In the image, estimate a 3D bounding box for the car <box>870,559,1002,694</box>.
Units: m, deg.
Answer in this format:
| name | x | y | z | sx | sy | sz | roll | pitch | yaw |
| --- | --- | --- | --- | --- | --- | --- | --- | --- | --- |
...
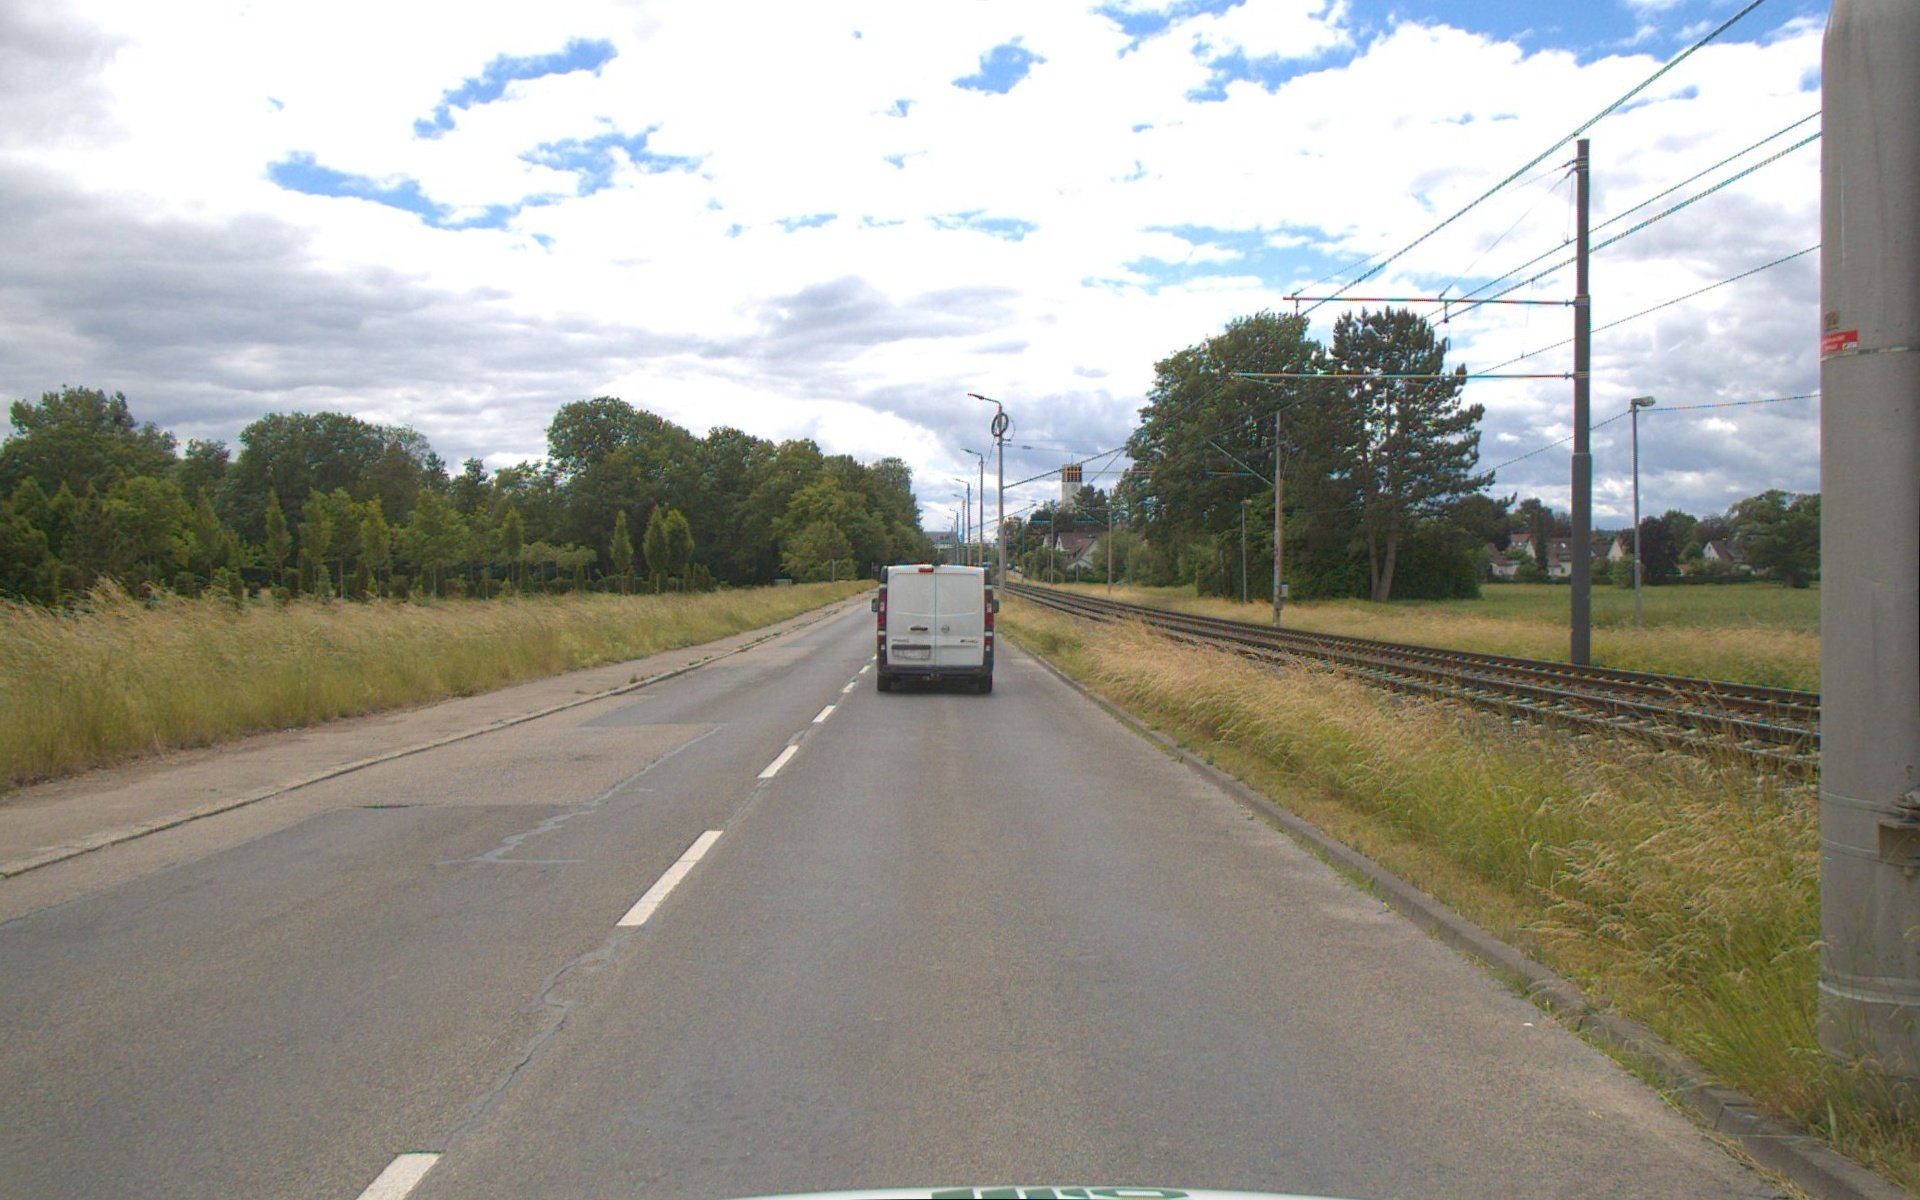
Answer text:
| name | x | y | z | sx | sy | sz | roll | pitch | yaw |
| --- | --- | --- | --- | --- | --- | --- | --- | --- | --- |
| car | -0.427 | 0.397 | 26.846 | 1.953 | 1.991 | 3.998 | 1 | 0 | -2 |
